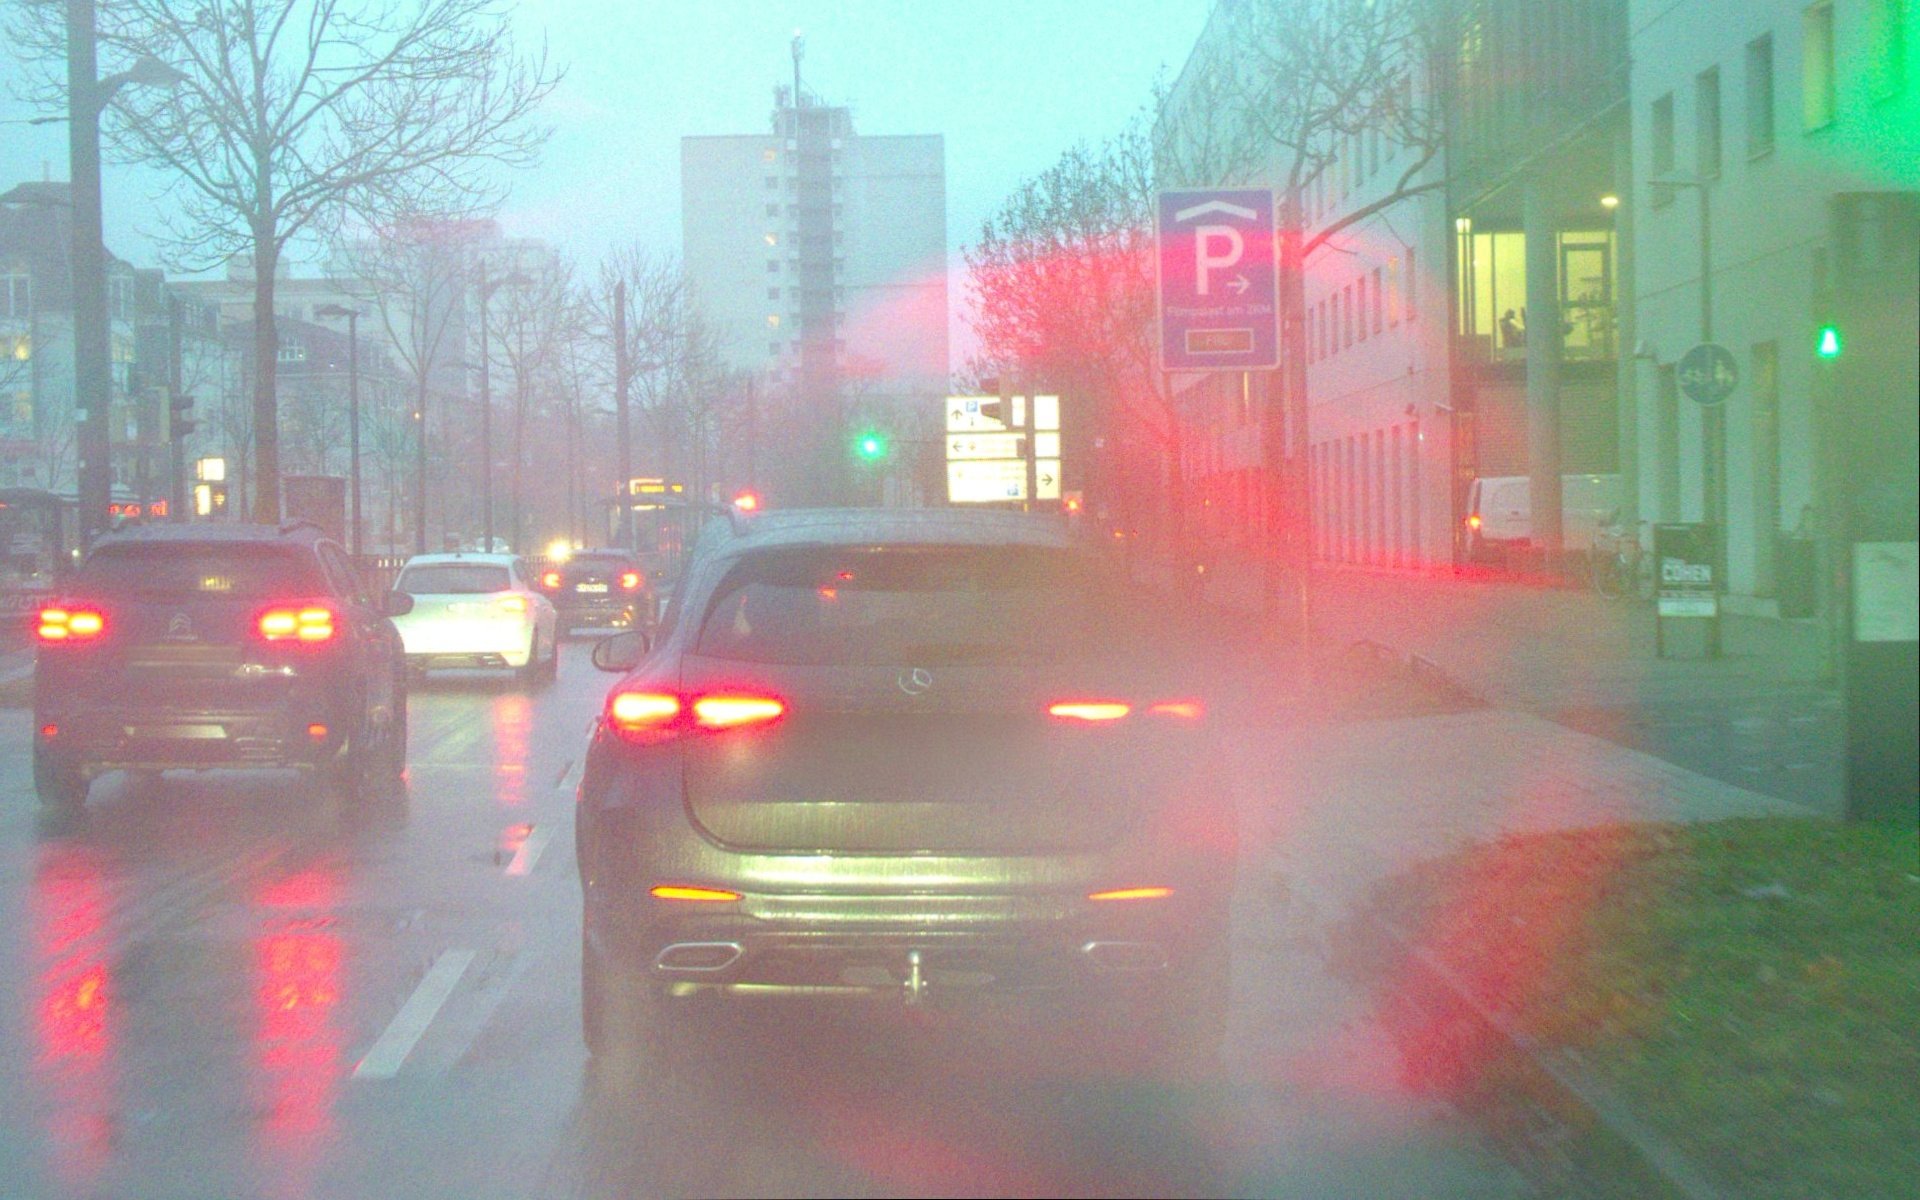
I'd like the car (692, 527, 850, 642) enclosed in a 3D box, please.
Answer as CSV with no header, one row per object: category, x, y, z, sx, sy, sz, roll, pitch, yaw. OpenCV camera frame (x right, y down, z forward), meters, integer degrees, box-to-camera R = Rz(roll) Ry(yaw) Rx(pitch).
car,-2.651,-0.248,49.006,1.867,1.537,3.610,1,1,3

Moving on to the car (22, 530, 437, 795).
car,-4.354,0.309,21.070,1.817,1.445,4.001,1,1,-2

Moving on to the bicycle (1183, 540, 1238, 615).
bicycle,3.297,-0.307,45.322,0.544,0.962,1.346,1,1,-3

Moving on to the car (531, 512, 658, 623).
car,-6.038,-0.543,57.143,1.662,1.753,3.568,1,1,1

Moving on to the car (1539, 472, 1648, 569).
car,11.841,-1.479,64.413,1.627,1.753,3.421,1,1,4

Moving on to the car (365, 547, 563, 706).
car,-5.437,0.254,38.034,1.689,1.629,3.474,1,1,-1

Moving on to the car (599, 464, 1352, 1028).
car,0.025,0.363,11.044,1.993,1.478,3.700,1,1,-1

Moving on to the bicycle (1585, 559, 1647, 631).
bicycle,8.892,-0.075,46.615,0.373,0.926,1.081,0,3,-15

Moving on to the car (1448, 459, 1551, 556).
car,10.089,-1.722,64.479,1.627,1.753,3.421,1,1,4
